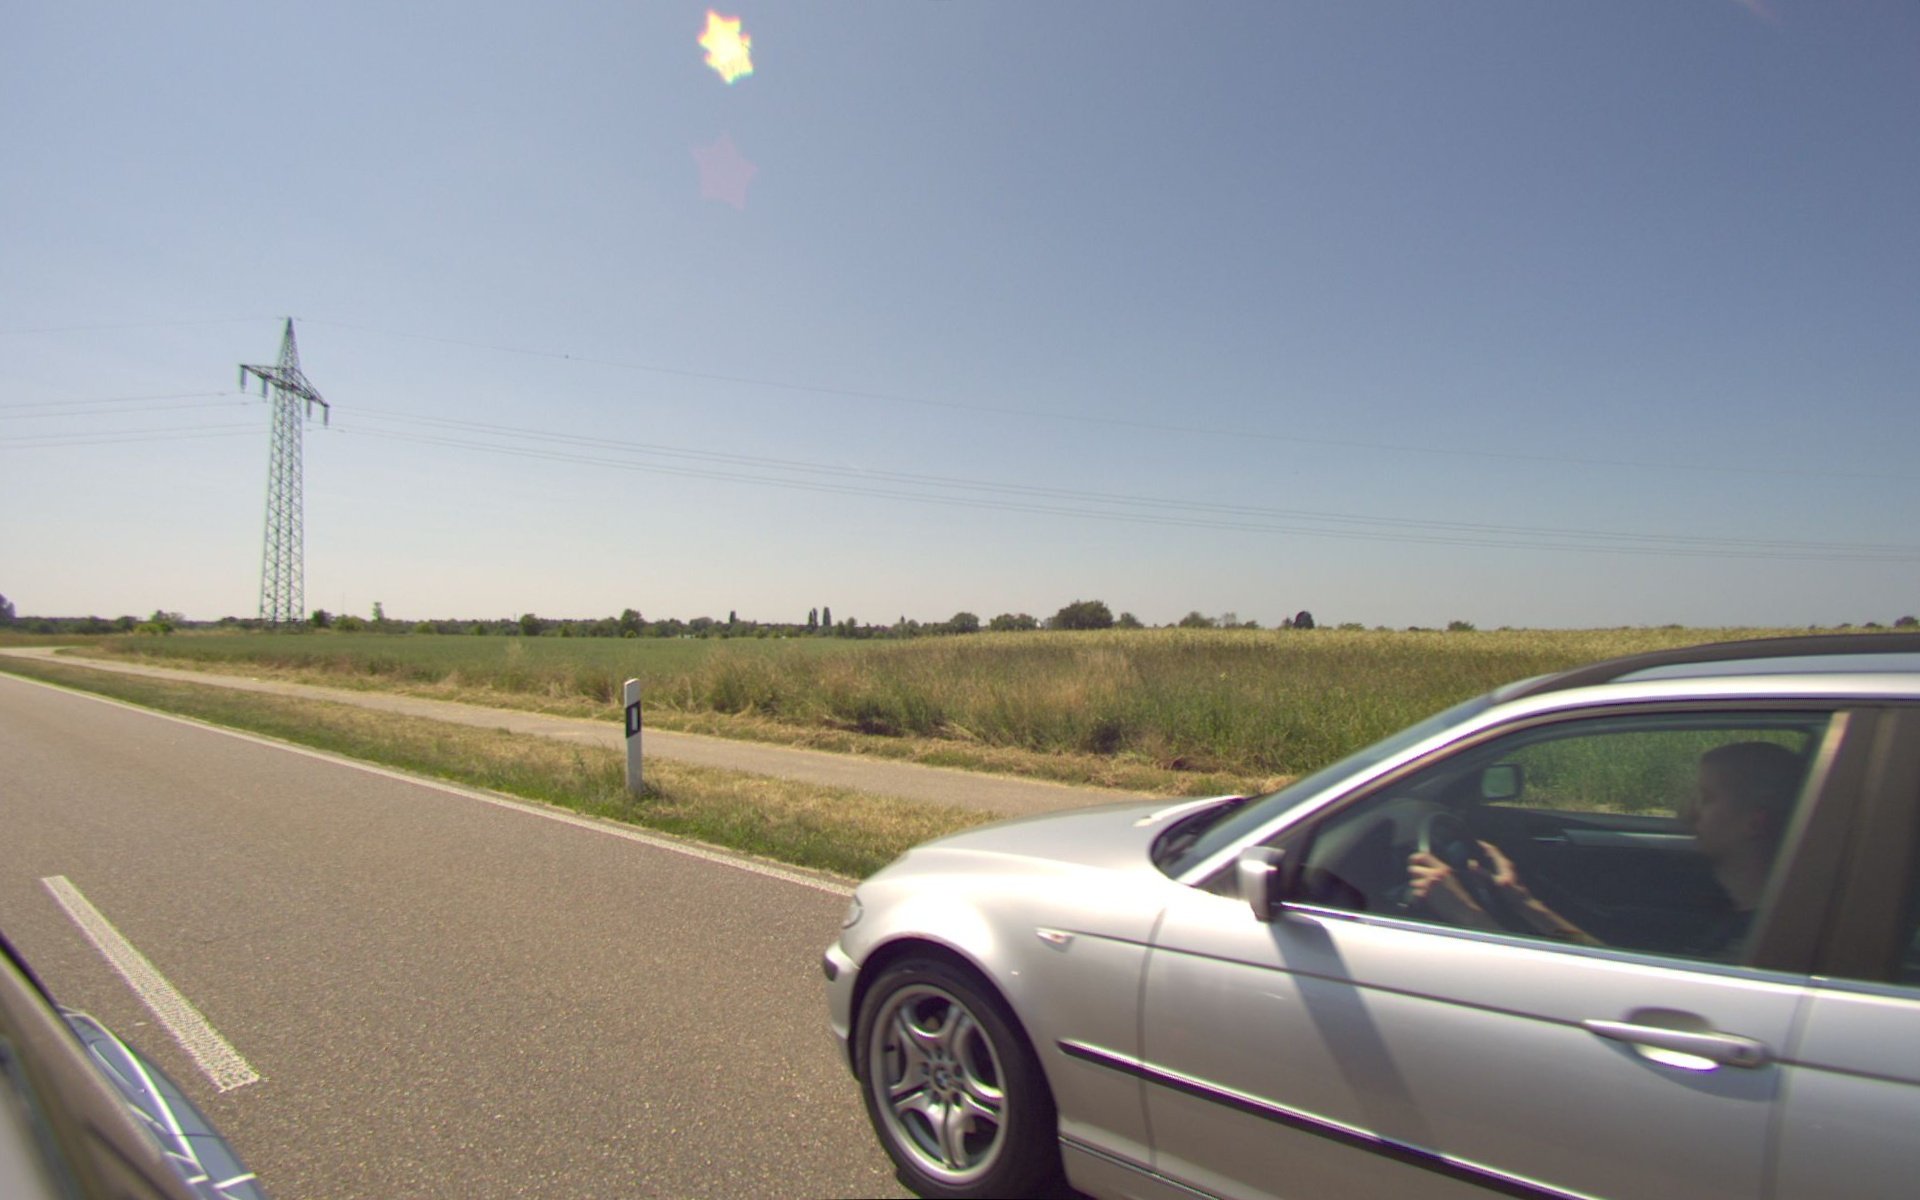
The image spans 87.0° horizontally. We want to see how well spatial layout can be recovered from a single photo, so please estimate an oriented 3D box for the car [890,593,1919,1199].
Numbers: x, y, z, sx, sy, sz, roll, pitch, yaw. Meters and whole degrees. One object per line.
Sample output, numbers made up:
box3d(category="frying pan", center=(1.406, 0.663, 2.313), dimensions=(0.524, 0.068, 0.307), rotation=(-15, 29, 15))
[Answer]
box3d(category="car", center=(1.900, 0.706, 1.899), dimensions=(4.030, 1.411, 1.729), rotation=(-1, -1, 41))
